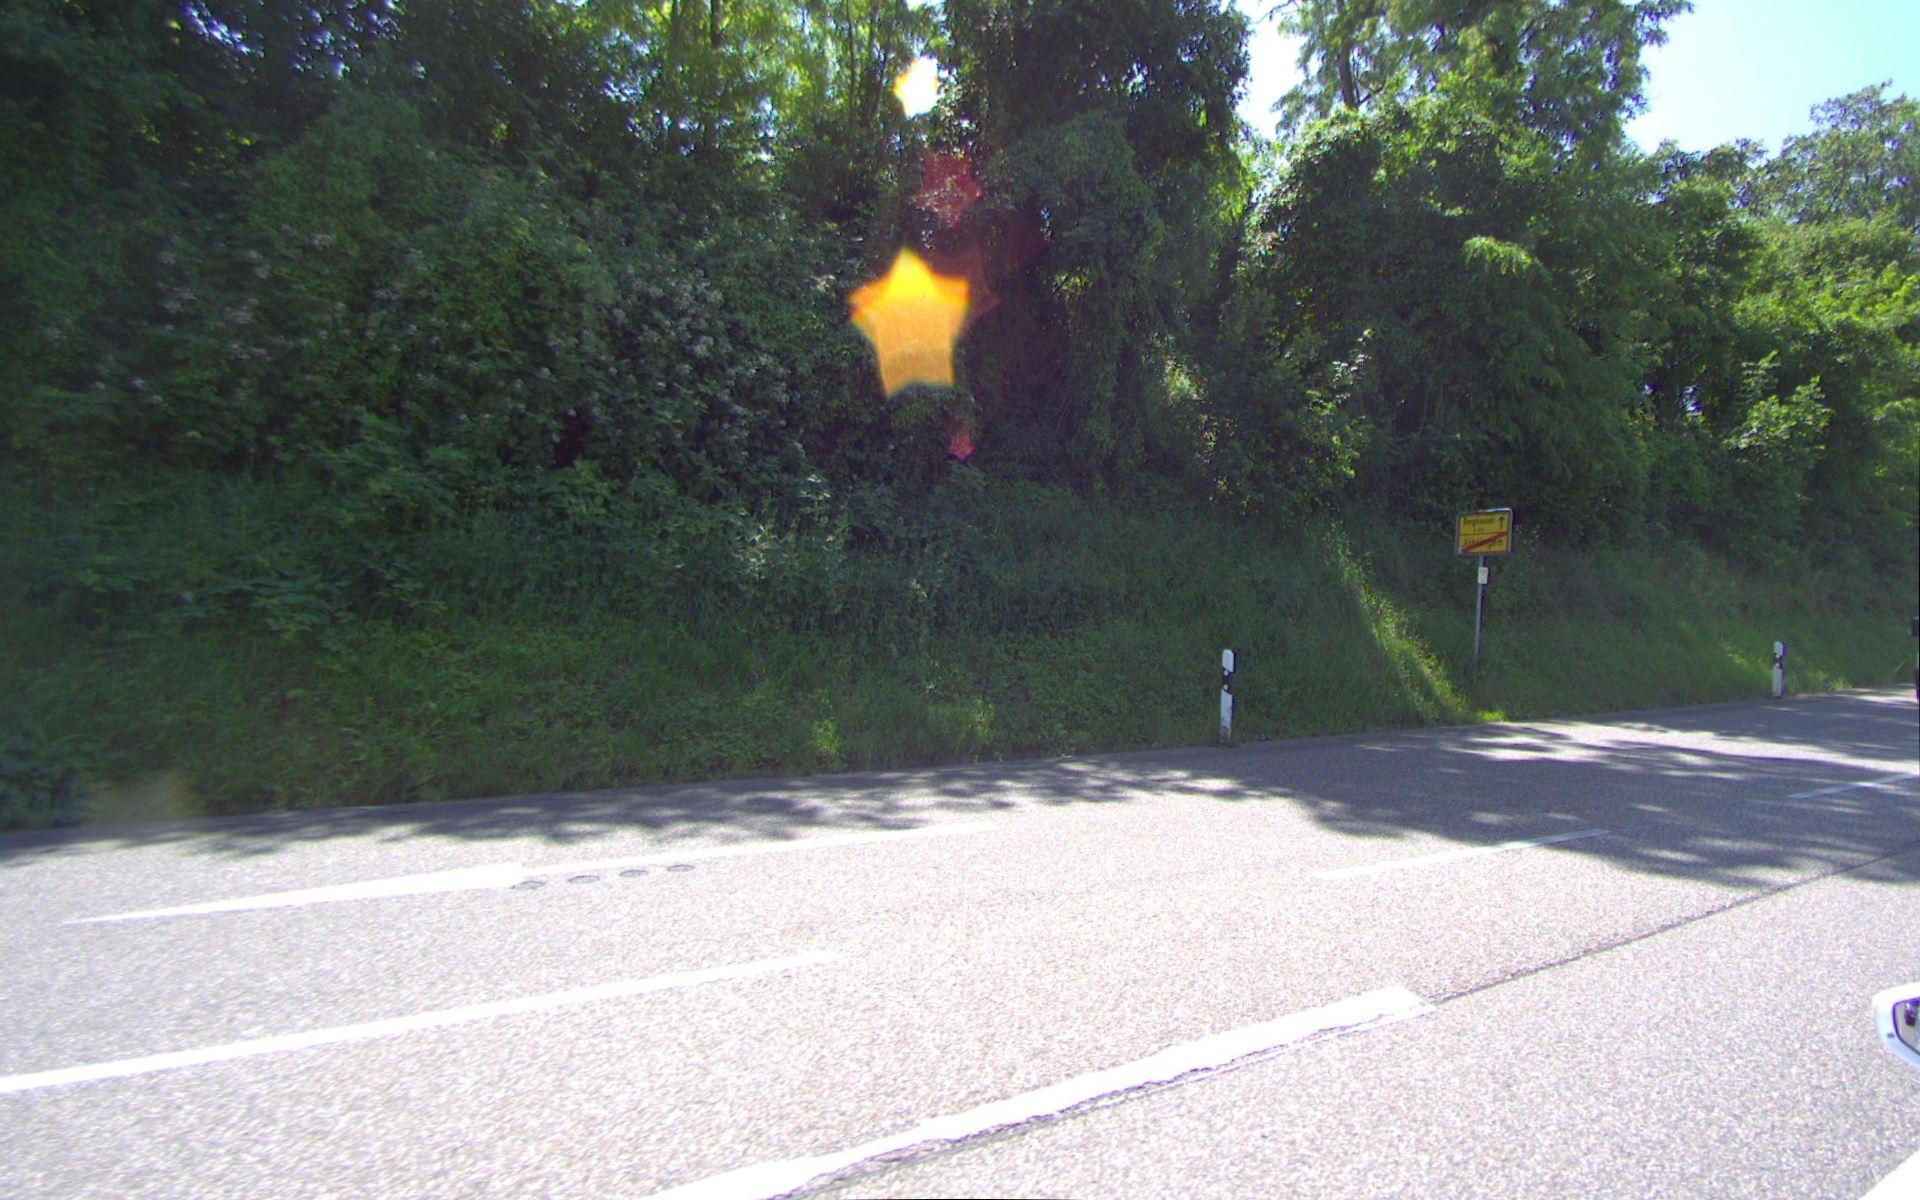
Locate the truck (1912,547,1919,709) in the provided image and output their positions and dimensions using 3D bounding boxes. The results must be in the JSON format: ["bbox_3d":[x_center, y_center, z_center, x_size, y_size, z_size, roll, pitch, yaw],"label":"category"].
[{"bbox_3d":[18.998,0.497,17.791,5.922,2.722,2.039,1,-1,-36],"label":"truck"}]
